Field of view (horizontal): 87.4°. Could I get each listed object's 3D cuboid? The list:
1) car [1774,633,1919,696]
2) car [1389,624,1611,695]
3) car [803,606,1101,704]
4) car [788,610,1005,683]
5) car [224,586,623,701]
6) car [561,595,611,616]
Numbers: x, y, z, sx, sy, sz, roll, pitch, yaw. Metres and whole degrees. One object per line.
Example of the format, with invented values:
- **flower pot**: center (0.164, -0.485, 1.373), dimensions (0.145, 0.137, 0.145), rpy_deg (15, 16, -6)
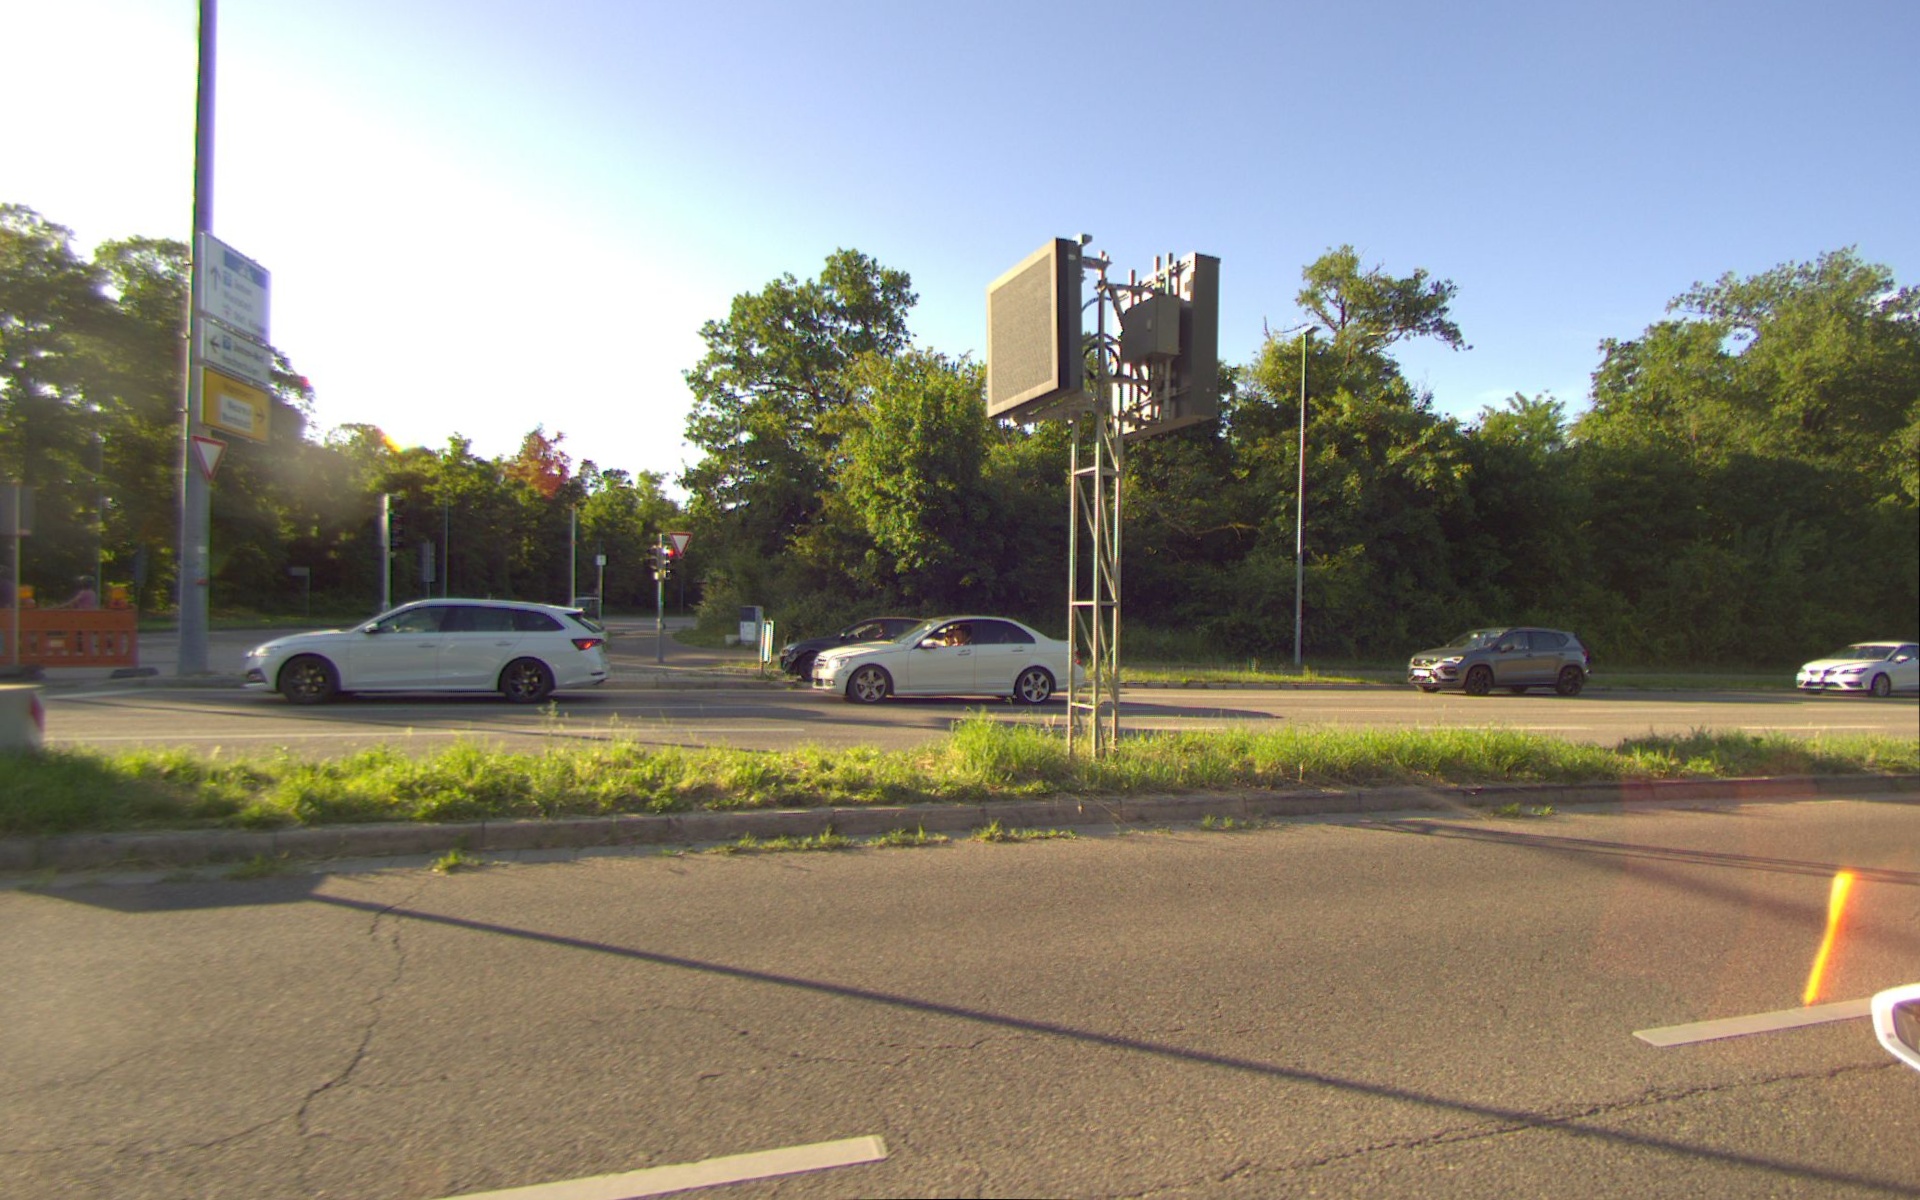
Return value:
- **car**: center (24.706, 1.722, 27.075), dimensions (4.570, 1.584, 1.994), rpy_deg (2, -2, -15)
- **car**: center (12.905, 1.414, 24.074), dimensions (4.570, 1.584, 1.994), rpy_deg (2, -2, -15)
- **car**: center (-0.172, 0.913, 16.683), dimensions (4.573, 1.470, 1.993), rpy_deg (2, -2, -17)
- **car**: center (-1.370, 0.999, 22.273), dimensions (4.557, 1.470, 2.000), rpy_deg (1, 0, -2)
- **car**: center (-7.409, 0.641, 14.526), dimensions (4.768, 1.470, 1.991), rpy_deg (2, -2, -20)
- **car**: center (-31.143, 0.487, 83.796), dimensions (1.960, 1.709, 4.745), rpy_deg (1, 0, 5)
